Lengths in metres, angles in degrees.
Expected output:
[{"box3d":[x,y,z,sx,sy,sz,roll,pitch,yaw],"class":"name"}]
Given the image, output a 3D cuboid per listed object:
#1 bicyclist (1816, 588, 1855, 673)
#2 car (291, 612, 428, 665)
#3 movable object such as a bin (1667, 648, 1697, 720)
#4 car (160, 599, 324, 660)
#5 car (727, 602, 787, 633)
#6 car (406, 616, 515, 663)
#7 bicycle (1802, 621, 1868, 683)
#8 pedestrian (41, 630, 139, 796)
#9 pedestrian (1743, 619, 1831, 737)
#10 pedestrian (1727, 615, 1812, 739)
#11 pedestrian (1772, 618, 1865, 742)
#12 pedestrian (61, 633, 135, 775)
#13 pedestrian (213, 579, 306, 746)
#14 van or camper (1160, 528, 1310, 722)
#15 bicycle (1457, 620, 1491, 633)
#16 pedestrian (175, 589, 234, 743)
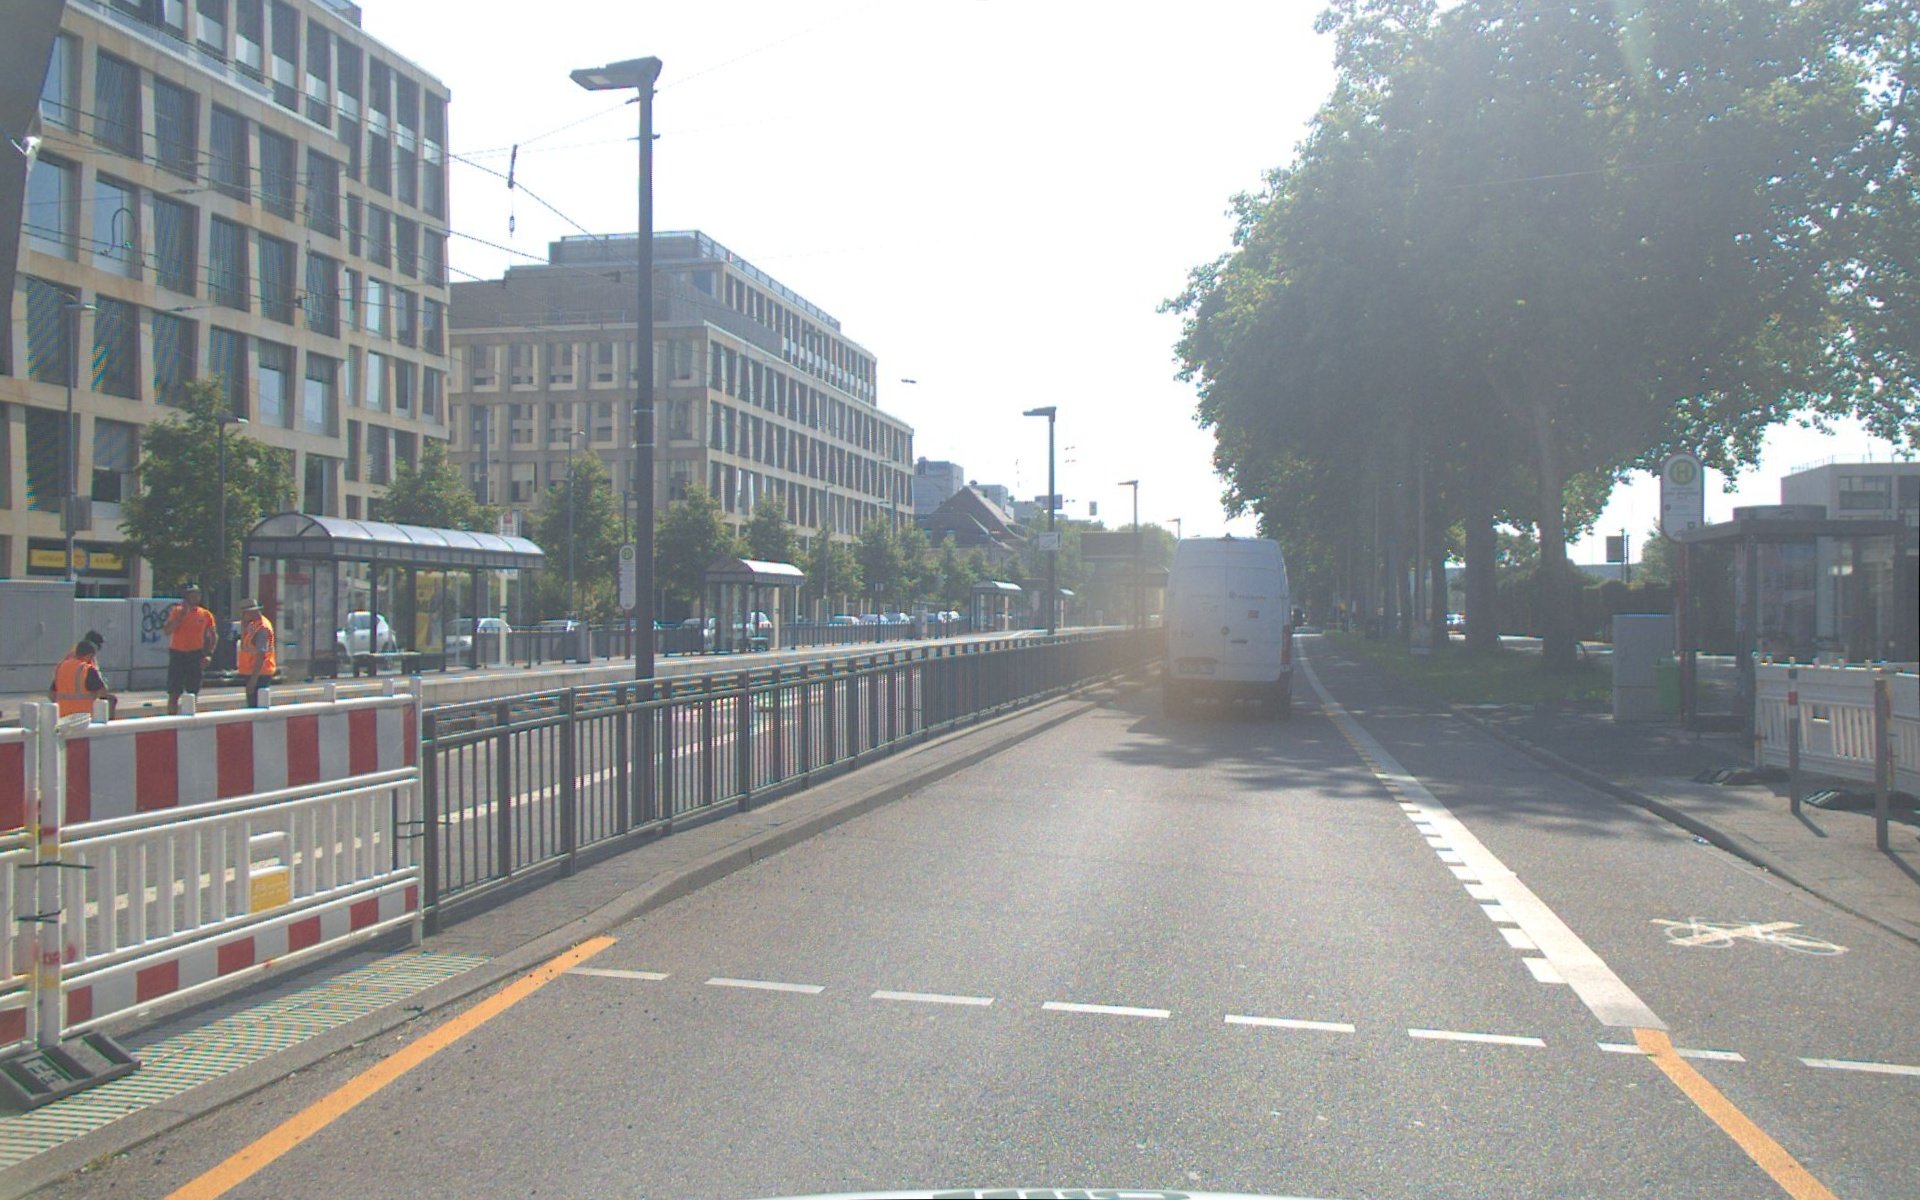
[{"box3d":[16.268,0.558,30.751,0.459,1.566,0.597,0,-1,8],"class":"bicyclist"},{"box3d":[-16.901,1.060,46.766,1.648,1.432,4.377,-1,-1,10],"class":"car"},{"box3d":[9.525,1.110,21.826,0.265,0.932,0.386,0,-1,9],"class":"movable object such as a bin"},{"box3d":[-17.927,0.724,41.488,1.861,1.428,4.003,-1,-1,10],"class":"car"},{"box3d":[-9.682,0.832,79.305,1.648,1.432,4.374,-1,-1,10],"class":"car"},{"box3d":[-15.842,1.229,52.687,1.648,1.432,4.086,-1,-1,10],"class":"car"},{"box3d":[16.273,0.950,30.793,0.481,1.108,1.859,0,0,8],"class":"bicycle"},{"box3d":[-9.199,1.171,17.486,0.657,1.692,0.766,-1,-1,45],"class":"pedestrian"},{"box3d":[9.278,0.868,18.578,0.725,1.283,0.612,1,-2,11],"class":"pedestrian"},{"box3d":[9.408,0.886,19.233,0.734,1.390,0.612,1,-2,11],"class":"pedestrian"},{"box3d":[9.221,0.848,17.782,0.725,1.283,0.612,1,-2,11],"class":"pedestrian"},{"box3d":[-9.898,1.183,19.015,0.628,1.581,0.624,0,0,-15],"class":"pedestrian"},{"box3d":[-8.567,0.746,20.243,0.709,1.985,0.787,-1,-1,26],"class":"pedestrian"},{"box3d":[4.350,0.375,26.419,2.070,2.729,5.254,1,0,9],"class":"van or camper"},{"box3d":[35.046,1.790,112.838,2.133,0.861,0.503,-1,-1,12],"class":"bicycle"},{"box3d":[-9.305,0.797,20.380,0.615,1.847,0.637,0,-1,-21],"class":"pedestrian"}]
